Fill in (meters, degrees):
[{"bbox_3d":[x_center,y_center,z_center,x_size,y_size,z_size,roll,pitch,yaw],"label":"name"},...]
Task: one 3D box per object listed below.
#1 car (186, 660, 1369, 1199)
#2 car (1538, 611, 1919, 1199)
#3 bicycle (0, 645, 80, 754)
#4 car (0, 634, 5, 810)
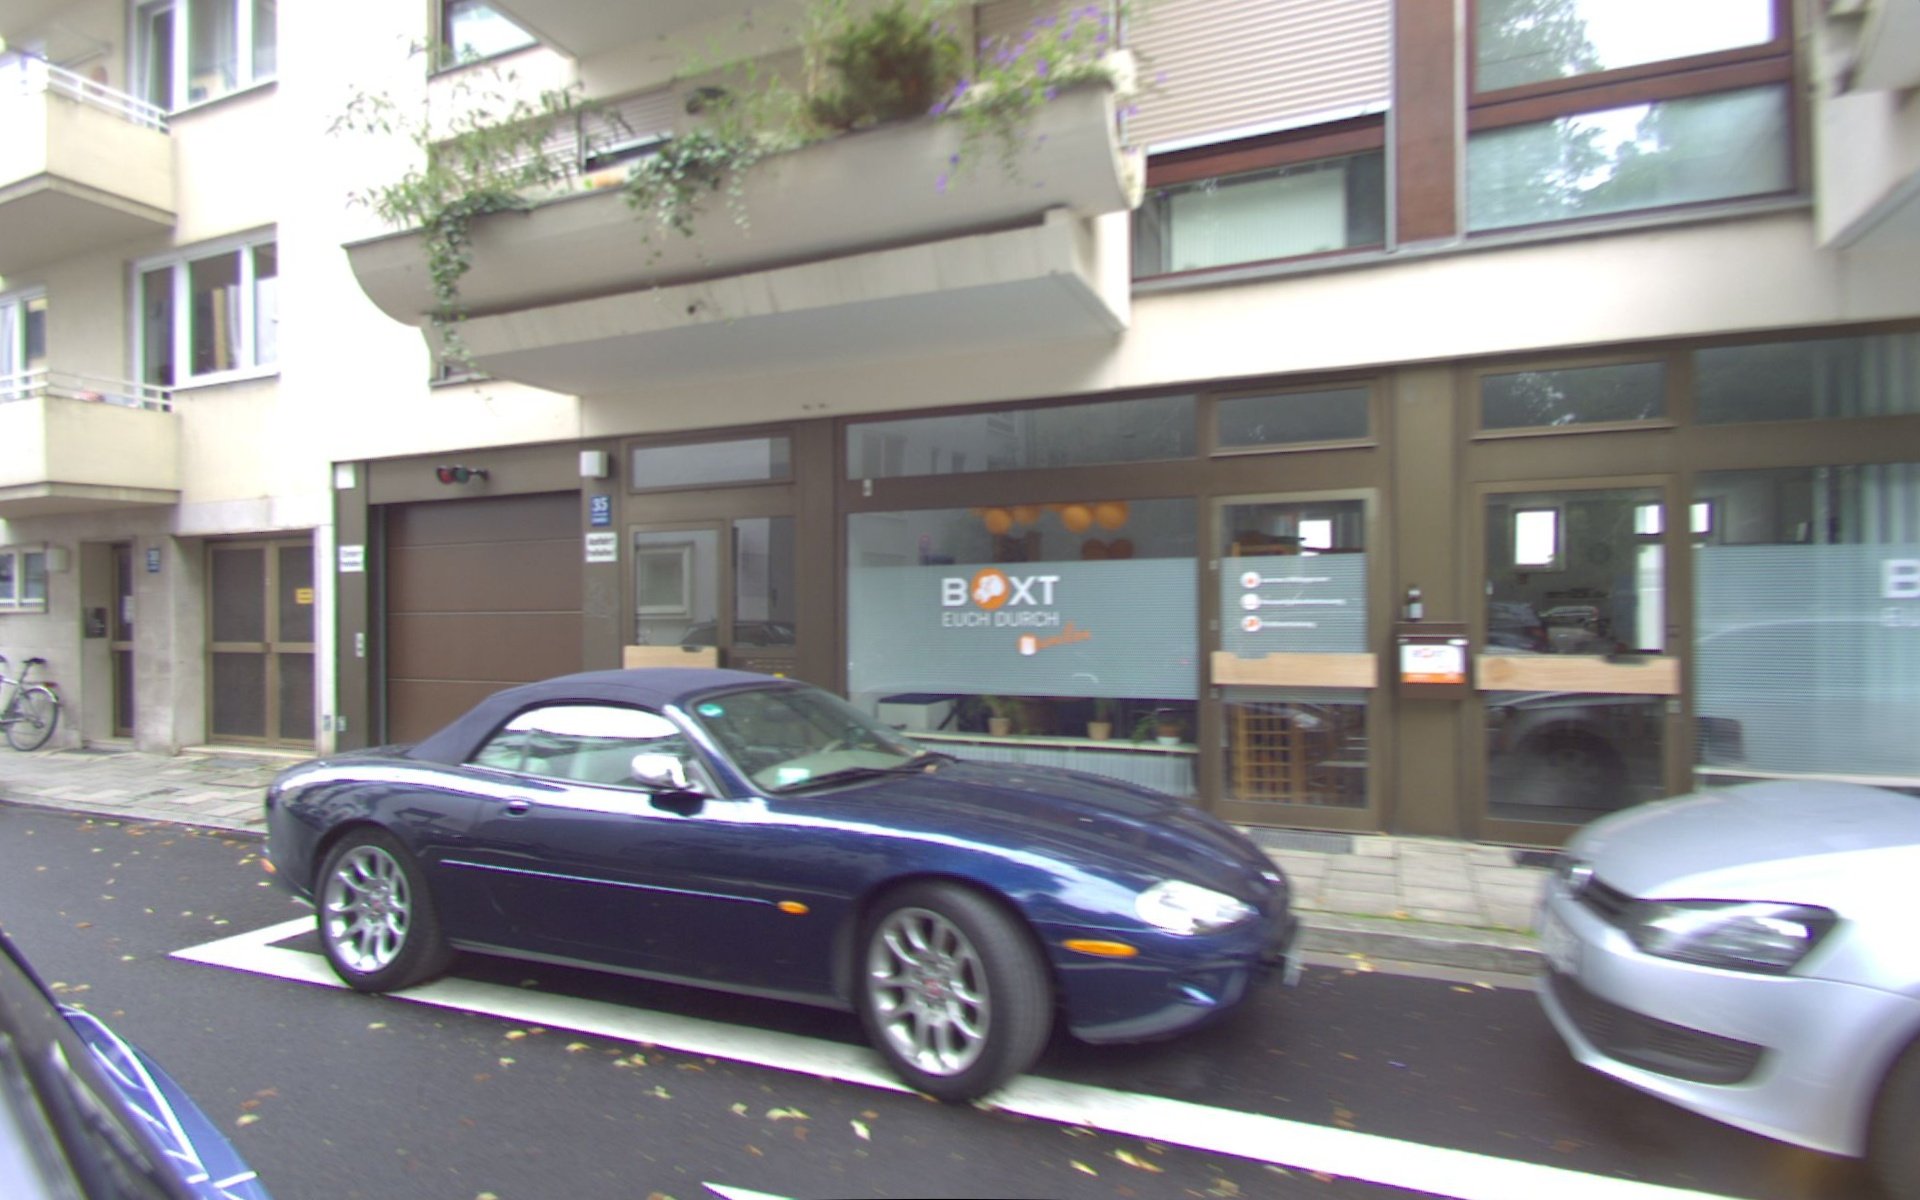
[{"bbox_3d":[-0.796,0.913,4.222,4.585,1.288,1.789,-1,-3,22],"label":"car"},{"bbox_3d":[3.693,0.740,2.379,3.806,1.432,1.554,-1,-3,22],"label":"car"},{"bbox_3d":[-10.735,1.099,11.443,1.749,1.157,0.465,-1,0,23],"label":"bicycle"},{"bbox_3d":[-10.223,1.068,8.641,3.683,1.508,1.613,-1,-1,21],"label":"car"}]
